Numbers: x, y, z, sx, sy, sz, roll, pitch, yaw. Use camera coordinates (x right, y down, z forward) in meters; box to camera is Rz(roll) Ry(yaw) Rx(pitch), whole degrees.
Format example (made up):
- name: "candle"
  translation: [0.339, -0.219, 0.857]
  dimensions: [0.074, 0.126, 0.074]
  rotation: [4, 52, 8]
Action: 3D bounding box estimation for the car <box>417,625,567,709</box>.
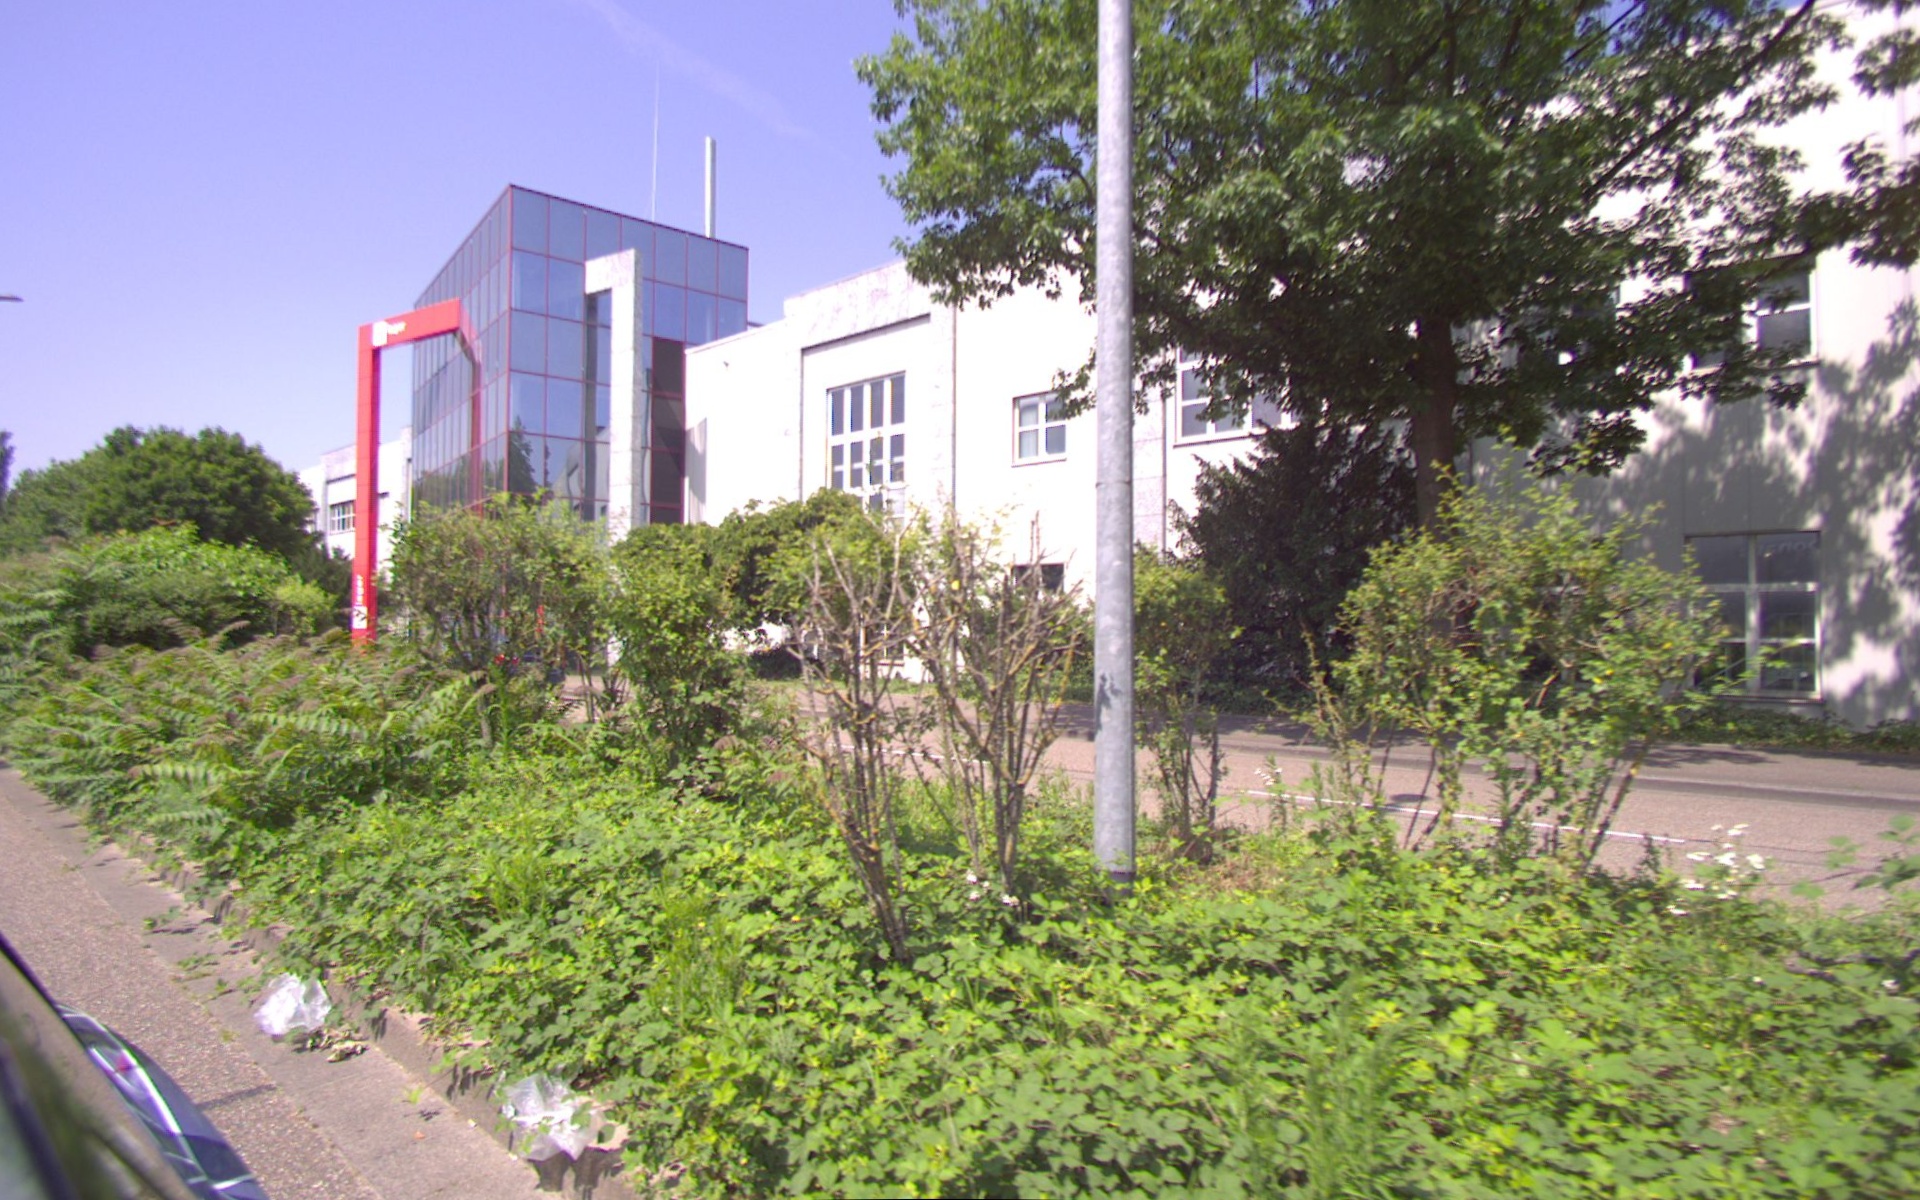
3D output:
- name: "car"
  translation: [-10.433, 1.413, 22.468]
  dimensions: [3.628, 1.664, 1.671]
  rotation: [-1, -1, 41]
